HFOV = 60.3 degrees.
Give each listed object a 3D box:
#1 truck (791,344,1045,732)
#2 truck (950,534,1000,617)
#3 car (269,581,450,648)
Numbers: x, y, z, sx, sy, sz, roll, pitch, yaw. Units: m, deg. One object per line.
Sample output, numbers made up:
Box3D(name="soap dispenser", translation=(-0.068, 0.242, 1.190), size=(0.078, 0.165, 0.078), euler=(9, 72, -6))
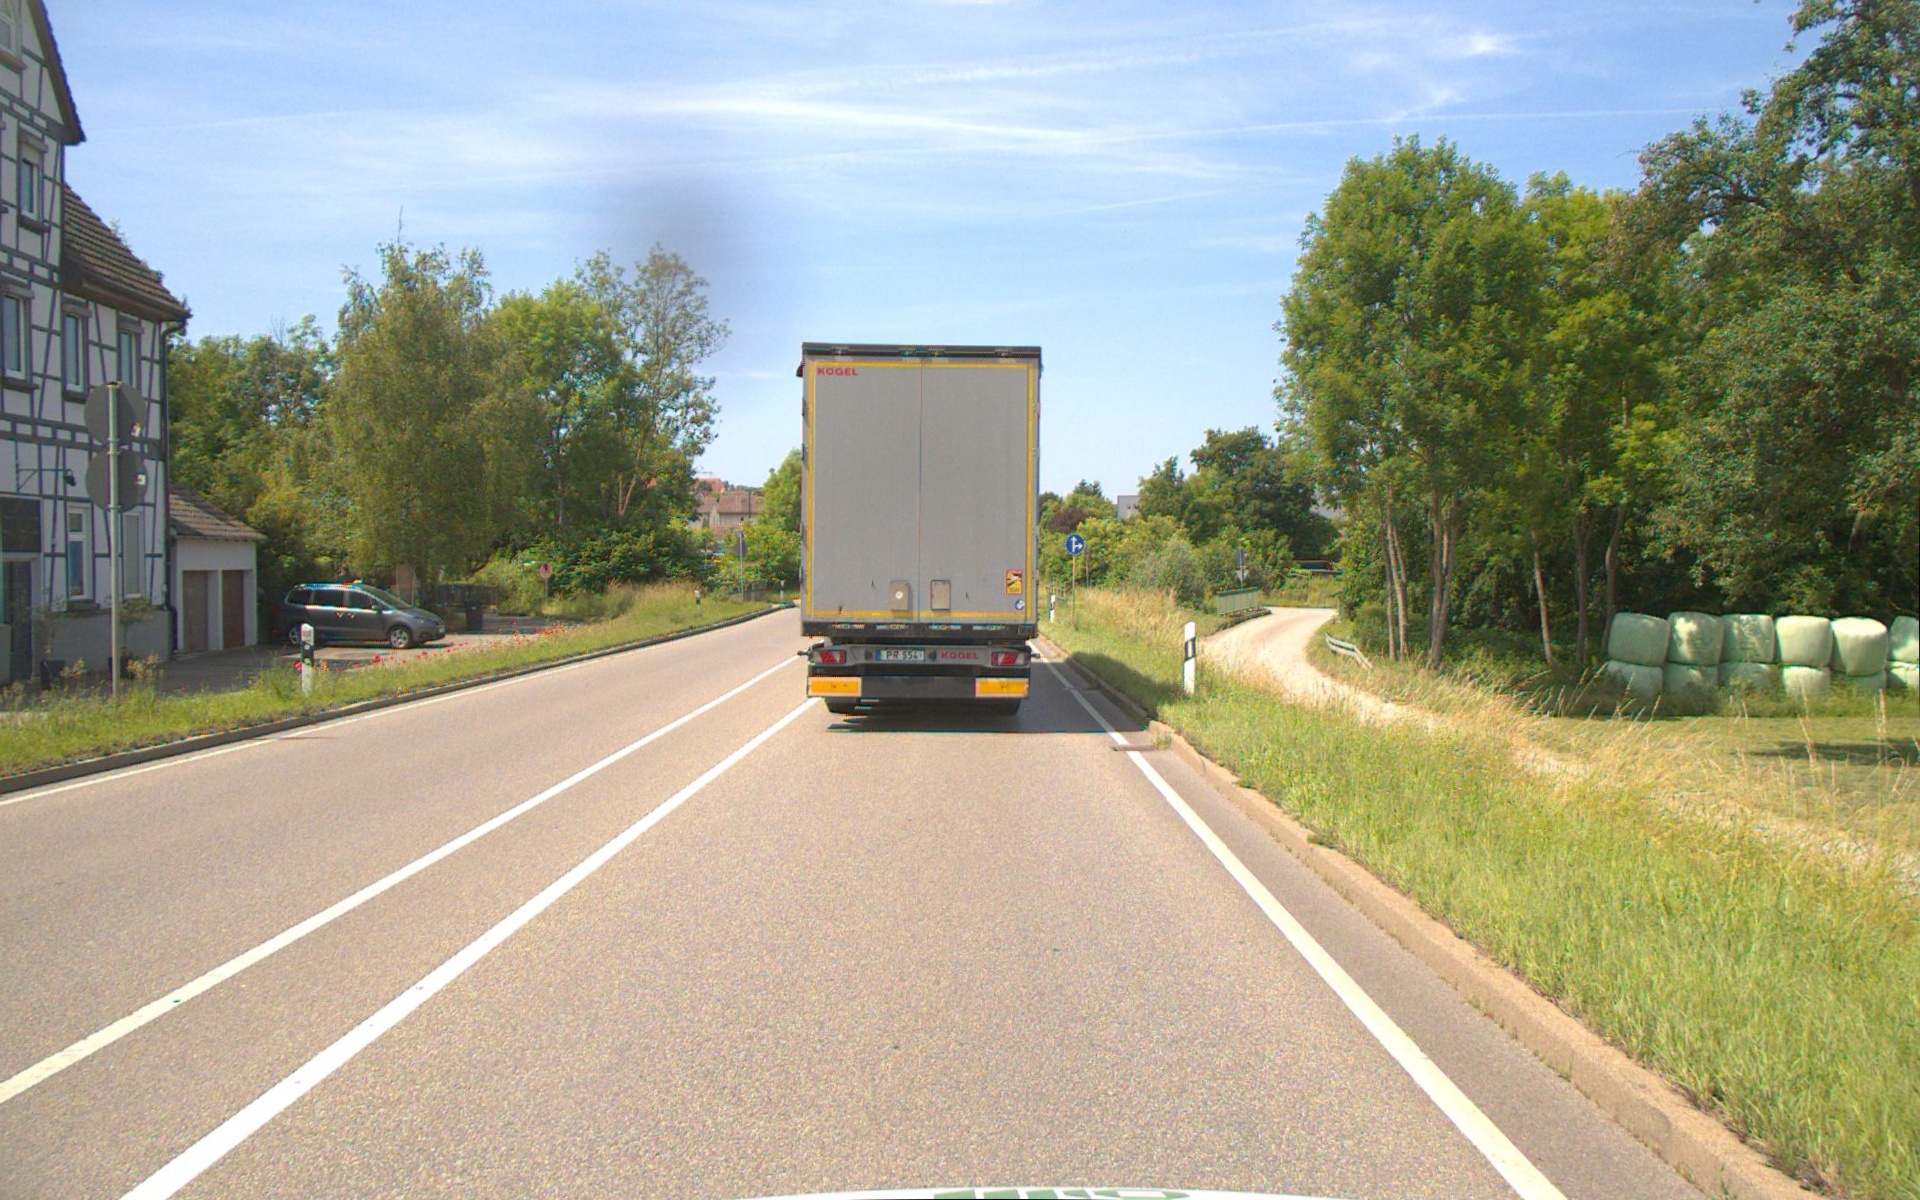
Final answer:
Box3D(name="truck", translation=(-0.497, -0.676, 21.541), size=(2.593, 3.985, 8.823), euler=(1, 0, -1))
Box3D(name="truck", translation=(0.848, -1.407, 100.623), size=(2.592, 4.681, 10.813), euler=(2, 0, -1))
Box3D(name="car", translation=(-17.269, 0.407, 47.726), size=(4.571, 1.750, 1.861), euler=(1, 3, -4))
